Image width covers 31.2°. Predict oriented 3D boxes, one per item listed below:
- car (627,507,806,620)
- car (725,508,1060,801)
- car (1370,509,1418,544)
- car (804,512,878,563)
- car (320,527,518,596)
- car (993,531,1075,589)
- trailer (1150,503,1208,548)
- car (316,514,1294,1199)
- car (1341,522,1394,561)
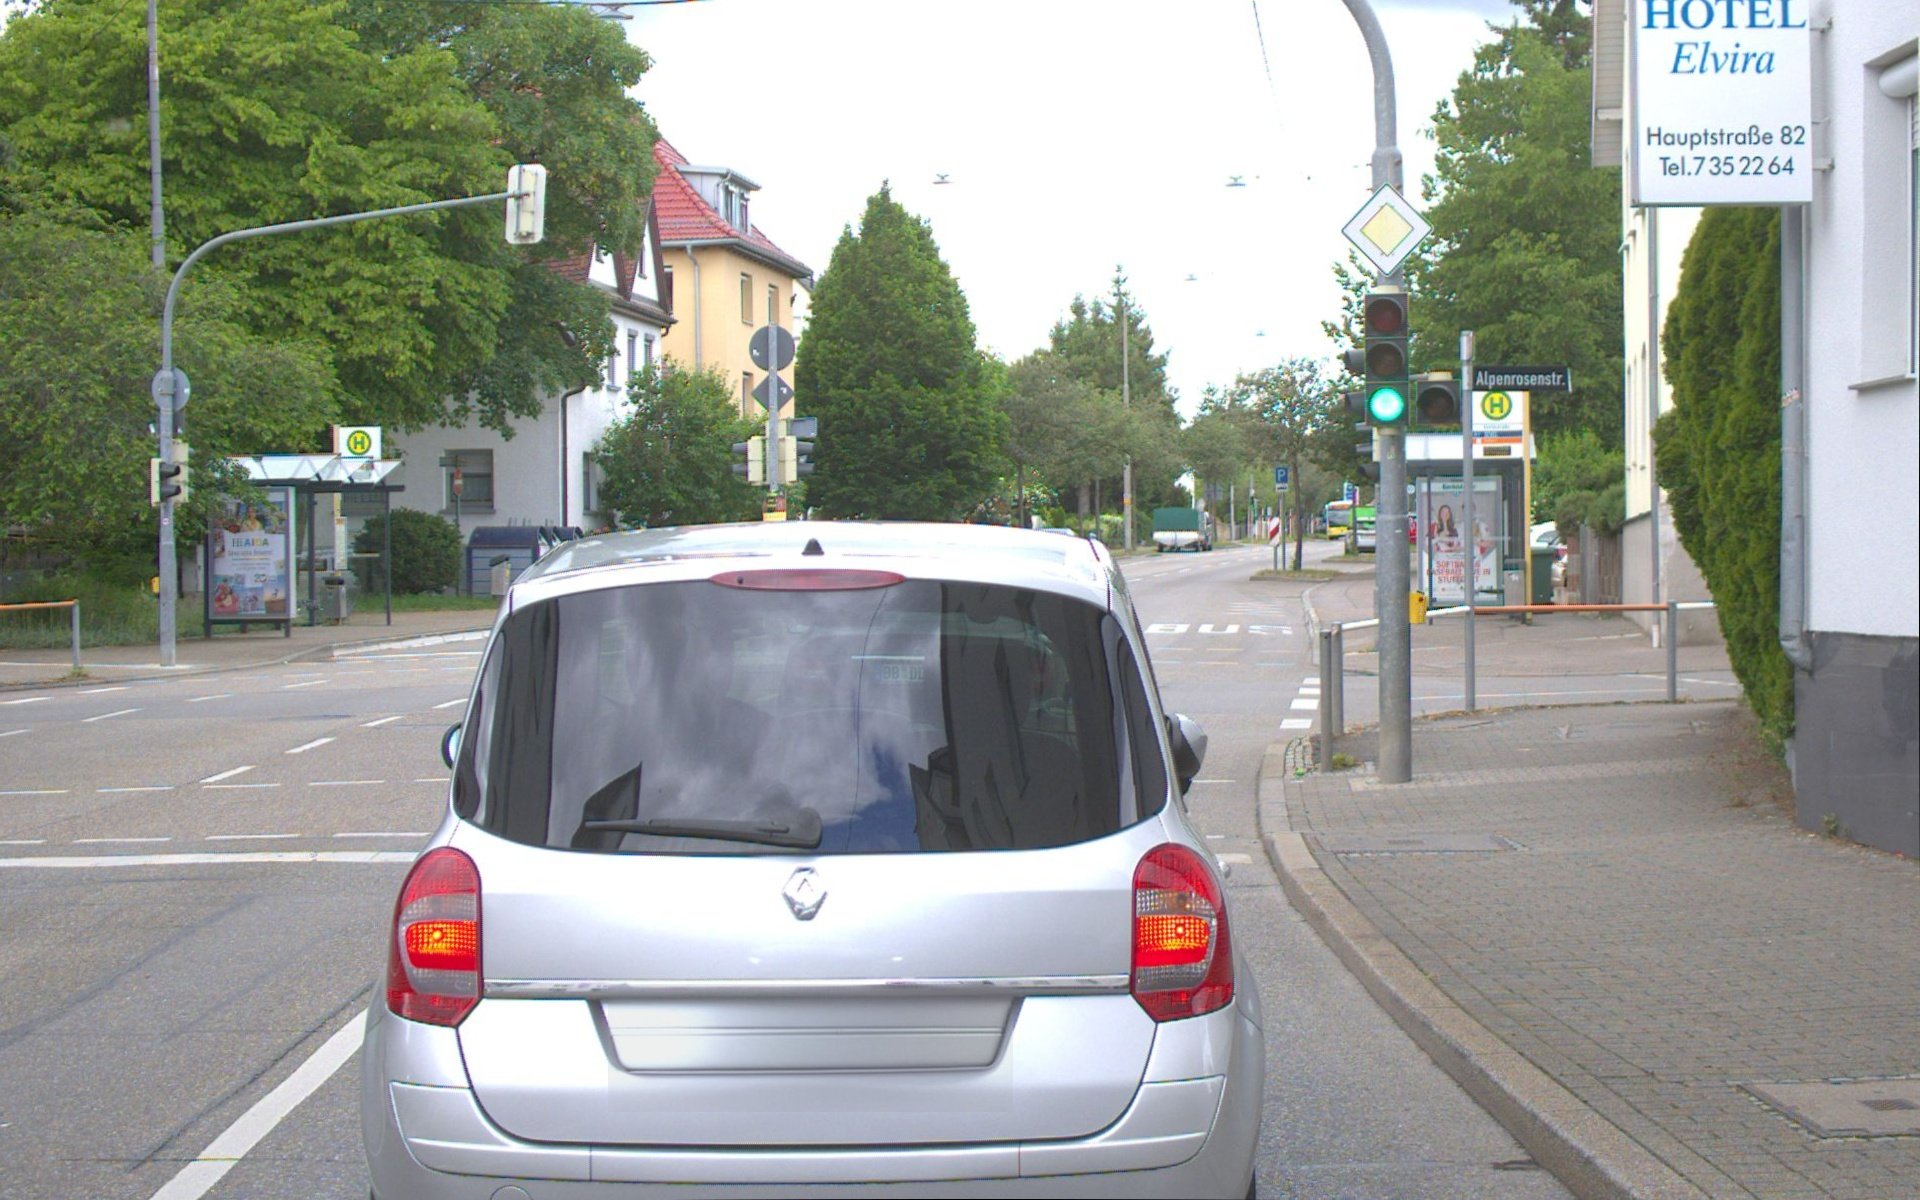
[{"bbox_3d":[-3.758,-0.555,53.832,1.759,1.629,4.593,-2,0,9],"label":"car"},{"bbox_3d":[-0.339,0.284,21.592,1.829,1.670,3.574,-1,1,3],"label":"car"},{"bbox_3d":[18.077,-3.067,143.078,1.663,1.388,3.666,0,1,12],"label":"car"},{"bbox_3d":[-3.983,-2.114,115.438,1.806,1.559,4.618,-3,1,6],"label":"car"},{"bbox_3d":[-12.038,-0.844,76.568,3.988,1.327,1.722,-3,0,8],"label":"car"},{"bbox_3d":[1.888,-0.992,86.757,1.564,1.415,4.129,-1,0,8],"label":"car"},{"bbox_3d":[10.558,-3.567,165.331,2.313,2.079,5.871,1,1,8],"label":"trailer"},{"bbox_3d":[-0.216,0.615,7.773,1.630,1.551,4.000,1,1,1],"label":"car"},{"bbox_3d":[14.723,-2.109,124.114,1.651,1.377,3.998,0,0,10],"label":"car"}]
